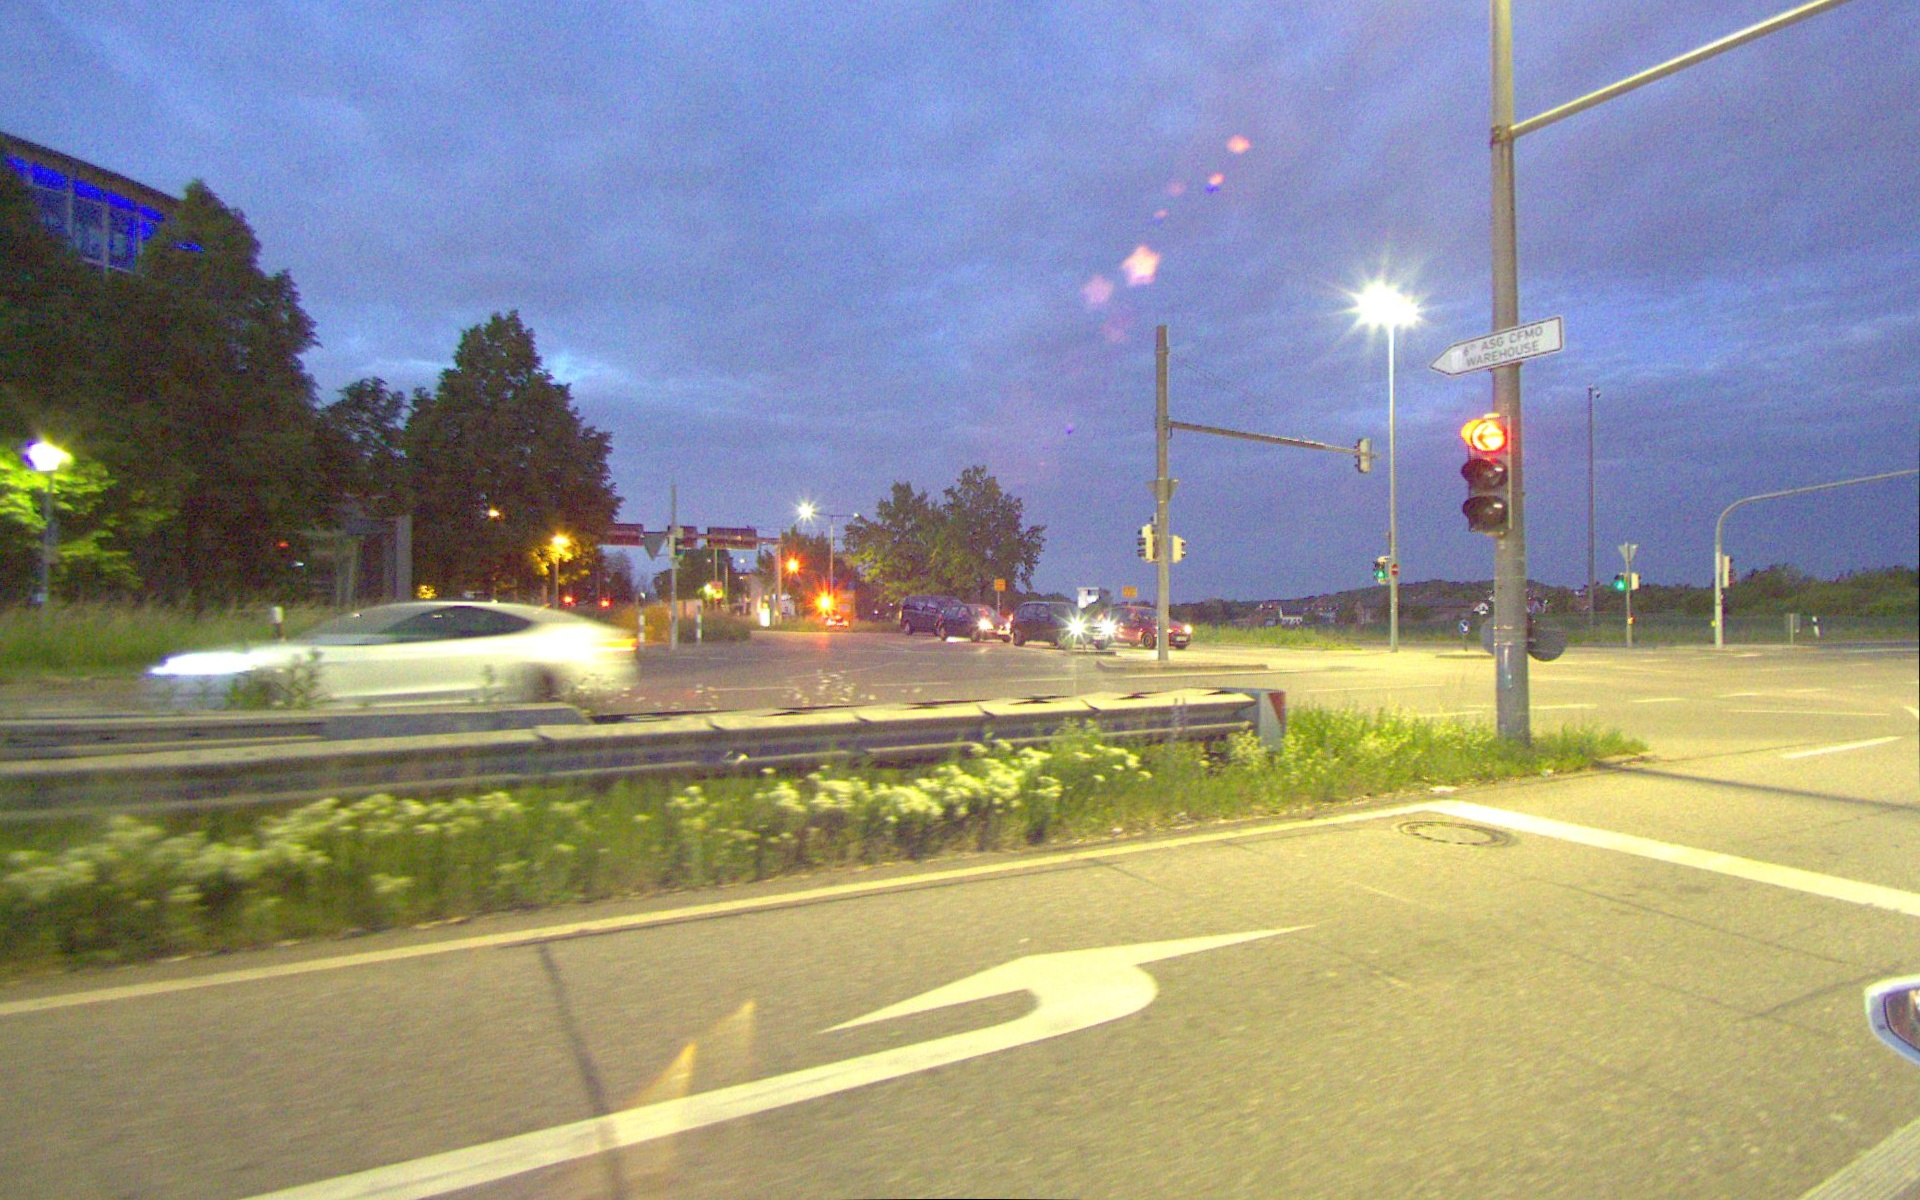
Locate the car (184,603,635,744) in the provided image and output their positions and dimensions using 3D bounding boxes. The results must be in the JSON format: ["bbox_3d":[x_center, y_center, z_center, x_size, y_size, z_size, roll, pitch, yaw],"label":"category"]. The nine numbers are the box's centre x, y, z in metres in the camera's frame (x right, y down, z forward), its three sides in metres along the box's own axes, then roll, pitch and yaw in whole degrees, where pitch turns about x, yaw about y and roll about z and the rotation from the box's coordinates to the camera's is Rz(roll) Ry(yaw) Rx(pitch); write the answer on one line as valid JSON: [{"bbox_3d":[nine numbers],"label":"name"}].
[{"bbox_3d":[-6.483,0.793,12.266,4.479,1.444,1.984,1,-1,-31],"label":"car"}]

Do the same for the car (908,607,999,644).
[{"bbox_3d":[-0.383,1.222,48.483,2.189,1.716,4.560,1,-1,-36],"label":"car"}]

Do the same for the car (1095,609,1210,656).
[{"bbox_3d":[6.704,1.126,35.383,1.711,1.558,4.018,1,-2,-32],"label":"car"}]

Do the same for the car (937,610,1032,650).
[{"bbox_3d":[0.914,1.149,39.297,1.713,1.493,3.960,2,-2,-35],"label":"car"}]

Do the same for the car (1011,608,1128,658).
[{"bbox_3d":[3.608,1.095,33.868,1.710,1.558,4.291,1,-2,-31],"label":"car"}]
